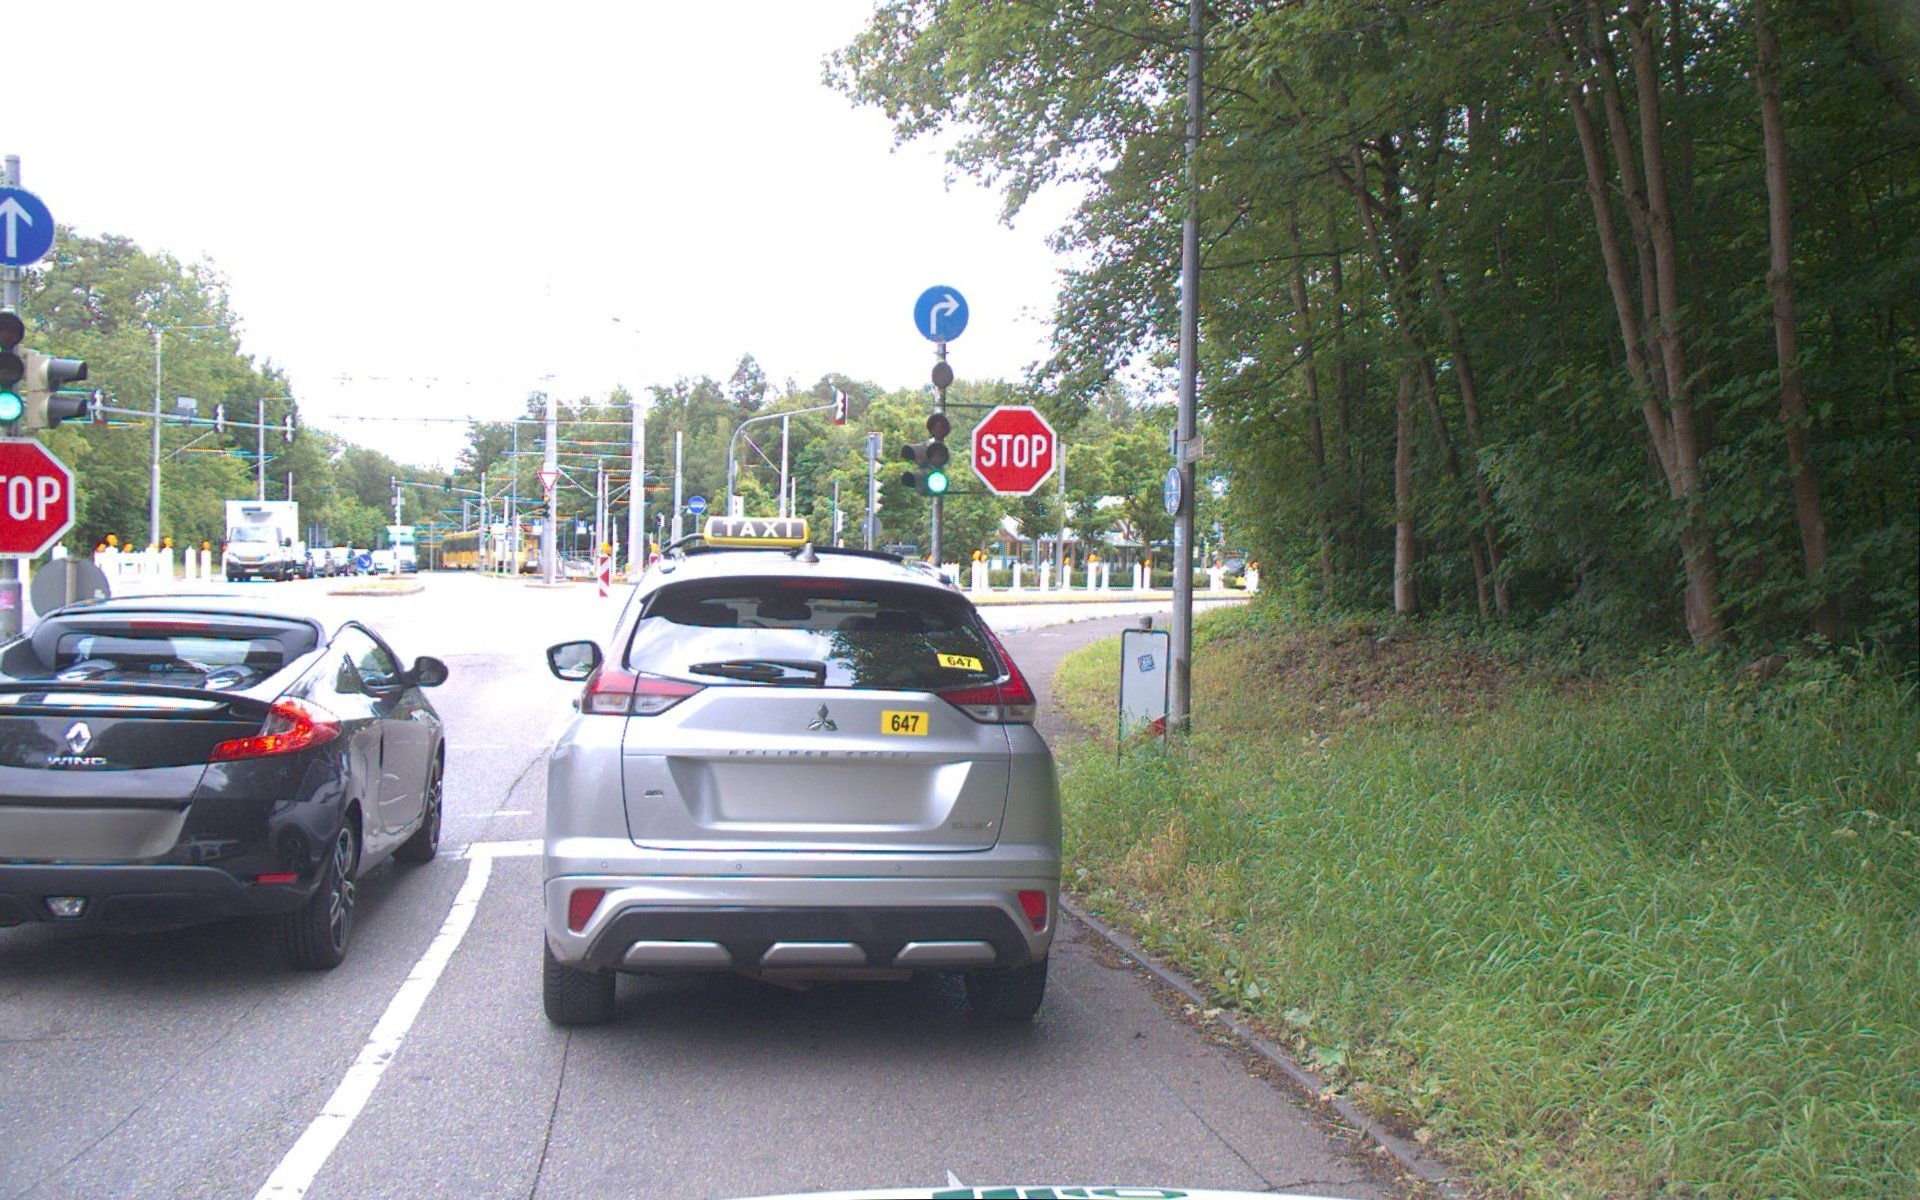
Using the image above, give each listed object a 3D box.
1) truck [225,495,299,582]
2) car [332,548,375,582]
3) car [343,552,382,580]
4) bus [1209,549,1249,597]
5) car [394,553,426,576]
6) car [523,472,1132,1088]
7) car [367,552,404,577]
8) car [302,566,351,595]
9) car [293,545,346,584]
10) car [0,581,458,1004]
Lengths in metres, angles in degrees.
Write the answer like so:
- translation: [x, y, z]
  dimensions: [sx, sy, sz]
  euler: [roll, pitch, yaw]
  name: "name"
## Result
- translation: [-27.945, -2.400, 66.429]
  dimensions: [2.413, 3.280, 7.112]
  euler: [0, 1, -21]
  name: "truck"
- translation: [-34.486, -2.001, 94.157]
  dimensions: [1.930, 1.877, 4.670]
  euler: [1, 1, -16]
  name: "car"
- translation: [-36.279, -2.080, 100.487]
  dimensions: [1.930, 1.635, 4.292]
  euler: [1, 1, -16]
  name: "car"
- translation: [22.101, -2.282, 136.369]
  dimensions: [2.761, 3.665, 12.815]
  euler: [1, 2, 7]
  name: "bus"
- translation: [-39.702, -2.578, 119.424]
  dimensions: [1.930, 1.567, 4.292]
  euler: [1, 1, -16]
  name: "car"
- translation: [-0.659, 0.517, 6.779]
  dimensions: [1.741, 1.778, 3.773]
  euler: [2, 1, -9]
  name: "car"
- translation: [-36.901, -2.297, 106.341]
  dimensions: [1.930, 1.568, 4.378]
  euler: [1, 1, -16]
  name: "car"
- translation: [-32.992, -1.028, 86.244]
  dimensions: [1.930, 1.385, 4.670]
  euler: [1, 1, -16]
  name: "car"
- translation: [-30.781, -1.735, 79.609]
  dimensions: [1.930, 1.780, 4.825]
  euler: [1, 1, -16]
  name: "car"
- translation: [-3.314, 0.626, 7.293]
  dimensions: [1.742, 1.385, 3.467]
  euler: [0, 1, -11]
  name: "car"
